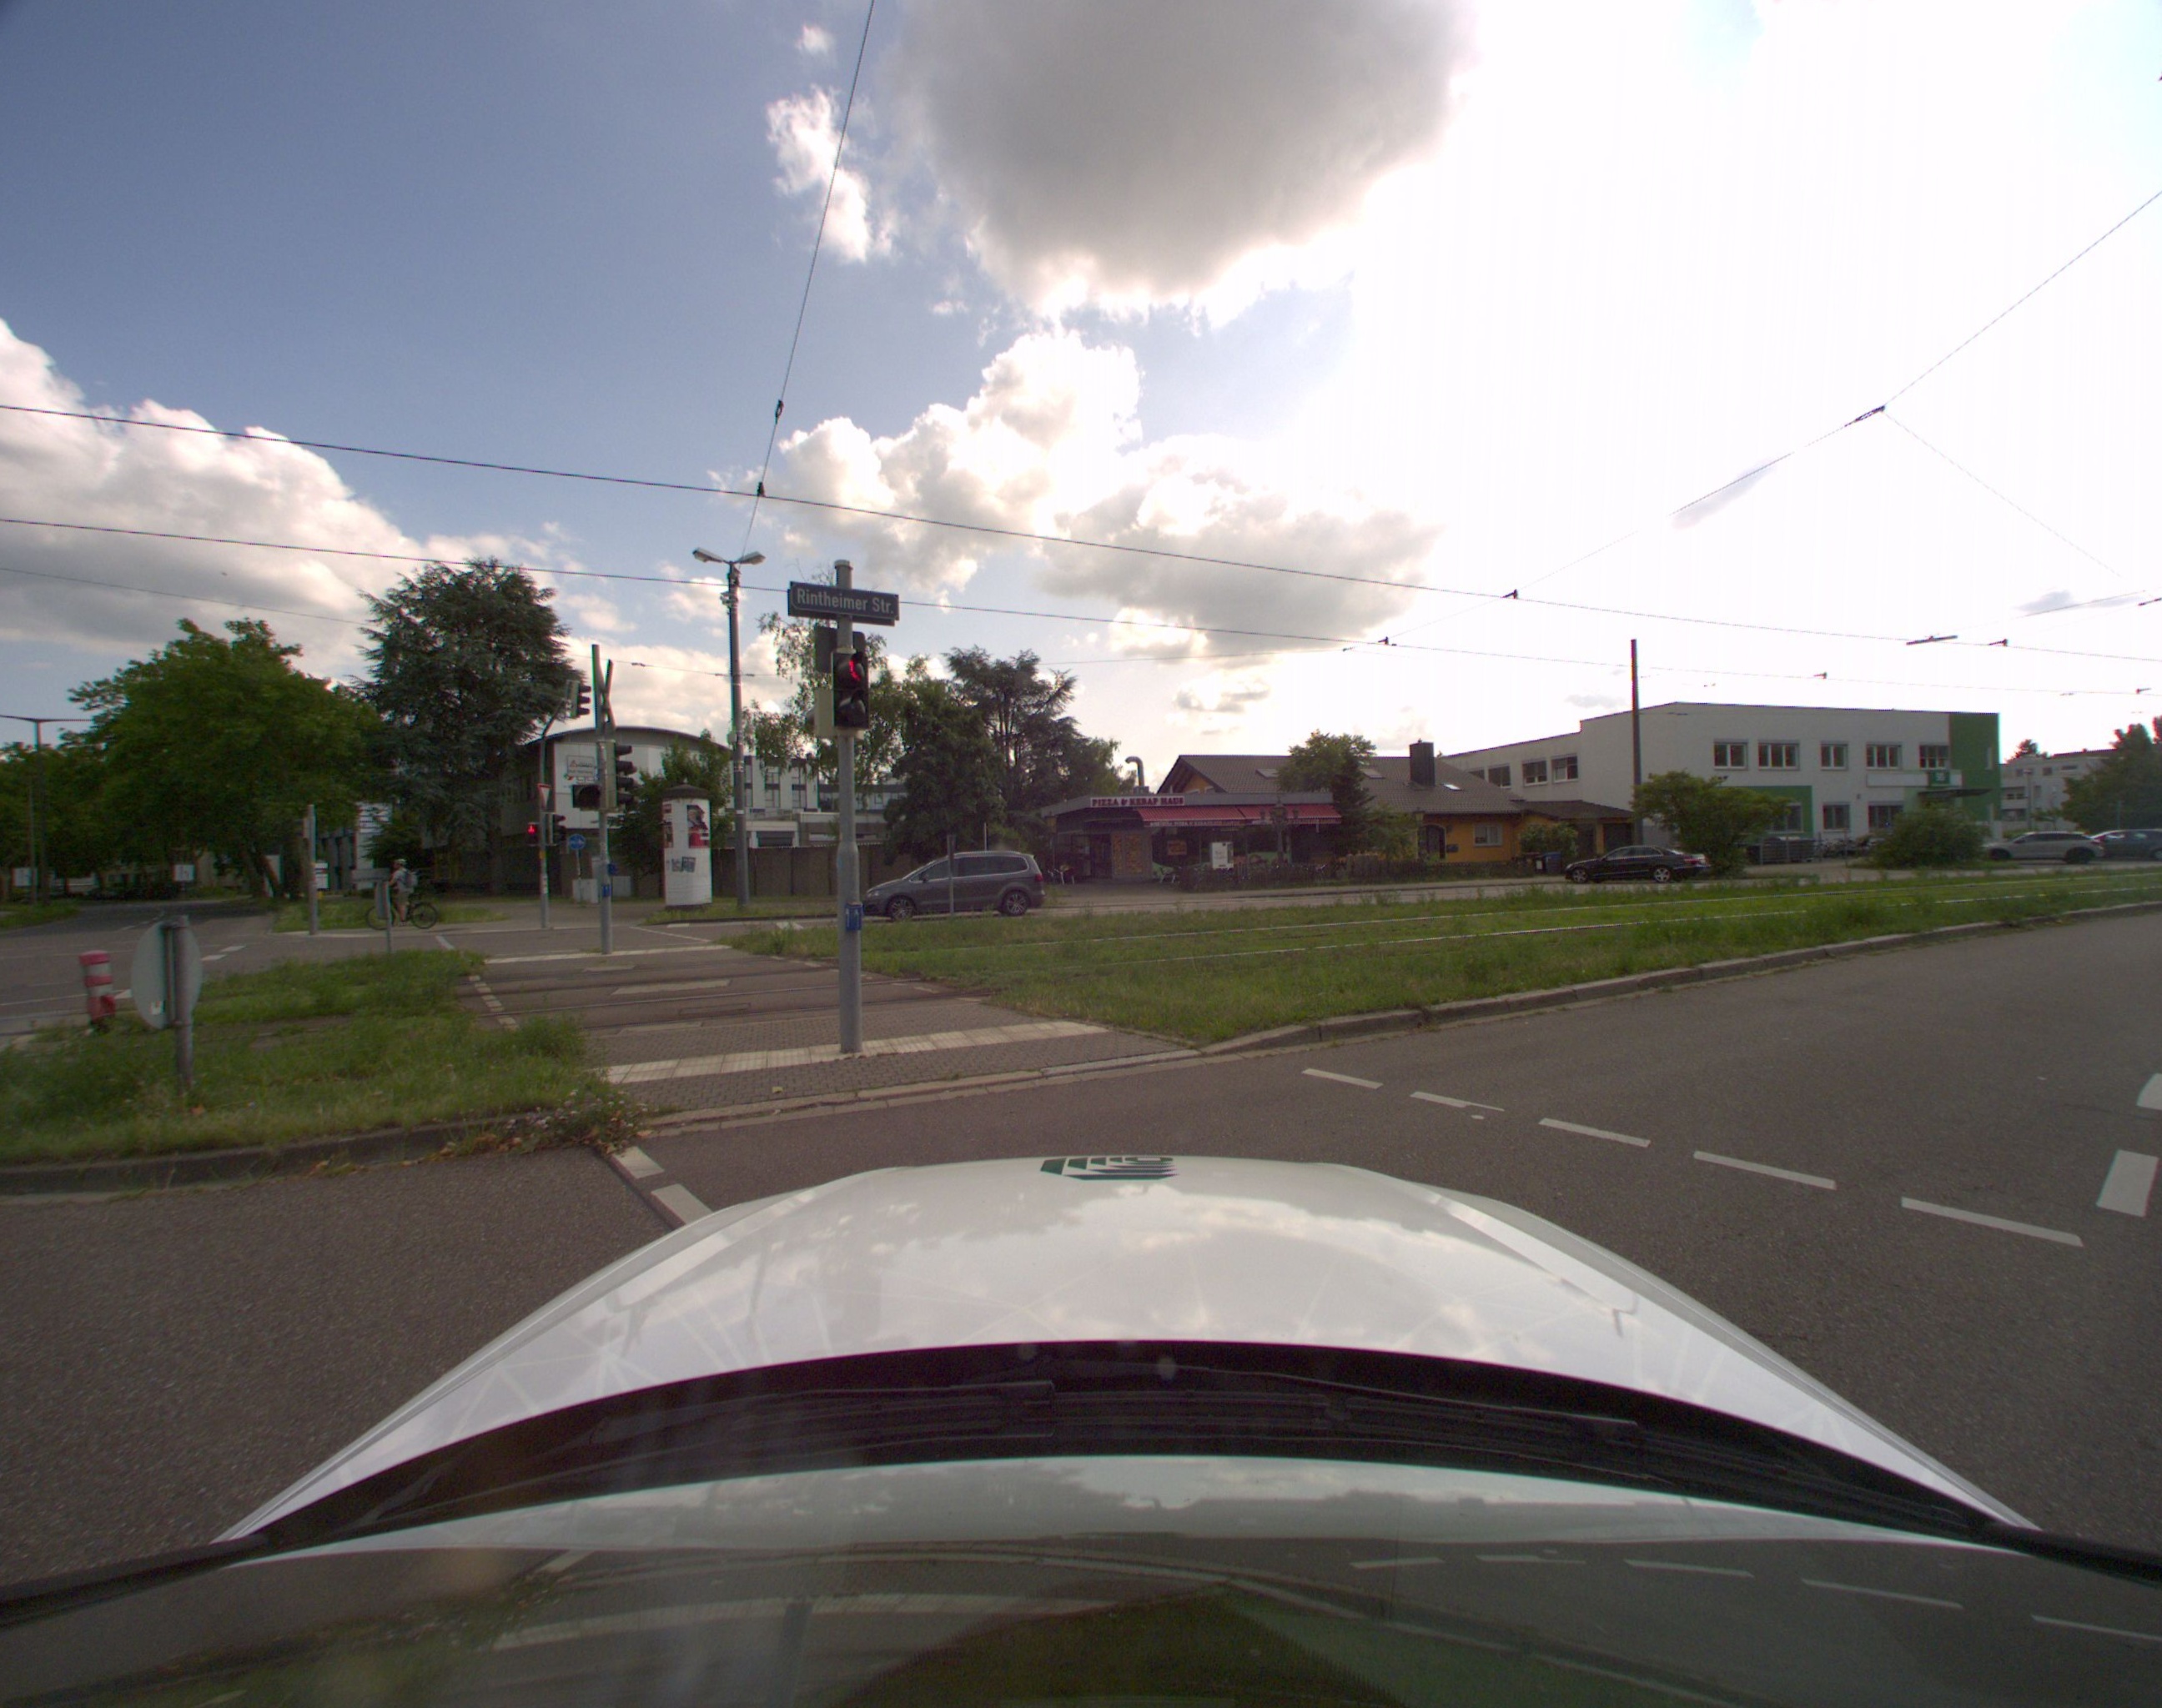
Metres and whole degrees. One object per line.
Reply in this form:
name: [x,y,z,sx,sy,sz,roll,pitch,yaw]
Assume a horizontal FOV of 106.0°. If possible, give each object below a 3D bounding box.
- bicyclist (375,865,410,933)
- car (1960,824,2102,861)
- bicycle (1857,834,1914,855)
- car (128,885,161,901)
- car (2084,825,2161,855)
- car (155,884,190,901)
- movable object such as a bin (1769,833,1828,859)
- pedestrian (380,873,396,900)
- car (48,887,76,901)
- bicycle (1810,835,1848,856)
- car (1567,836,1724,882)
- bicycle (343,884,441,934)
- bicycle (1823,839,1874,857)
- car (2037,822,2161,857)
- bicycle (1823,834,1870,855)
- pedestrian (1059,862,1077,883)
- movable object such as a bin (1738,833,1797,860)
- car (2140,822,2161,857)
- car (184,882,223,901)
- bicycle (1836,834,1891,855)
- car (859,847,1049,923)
bicyclist: [-18.897,1.228,22.365,0.545,1.809,0.537,-1,1,-24]
car: [46.462,-0.521,40.000,4.260,1.629,1.914,-2,0,41]
bicycle: [47.804,-0.562,48.416,0.746,1.166,2.411,-2,0,-8]
car: [-104.240,4.304,90.637,3.948,1.574,2.013,0,2,35]
car: [55.360,-0.756,42.183,1.871,1.504,4.119,-2,0,-43]
car: [-96.838,4.092,86.764,3.948,1.574,2.013,0,2,35]
movable object such as a bin: [38.346,-0.428,43.560,2.126,1.326,1.371,-2,0,-13]
pedestrian: [-41.420,1.921,48.673,0.626,1.569,0.552,-2,2,-44]
car: [-138.431,5.423,110.622,3.948,1.574,2.013,0,2,35]
bicycle: [44.174,-0.488,48.108,0.701,1.166,1.621,-2,0,1]
car: [21.713,0.218,31.495,2.009,1.580,4.529,-2,-1,-36]
bicycle: [-18.910,1.493,22.389,1.955,1.235,0.536,-1,1,-25]
bicycle: [45.667,-0.346,48.475,0.729,0.970,2.150,-2,0,-12]
car: [52.288,-0.728,41.671,1.913,1.629,4.262,-1,0,-44]
bicycle: [43.632,-0.533,46.425,0.736,1.081,1.786,-2,0,-18]
pedestrian: [-0.599,0.867,37.668,0.725,0.929,0.774,-1,1,-11]
movable object such as a bin: [36.232,-0.390,43.002,2.112,1.326,1.371,-2,0,-13]
car: [52.270,-0.712,37.293,4.267,1.629,1.911,-1,0,17]
car: [-86.892,3.704,80.641,3.948,1.574,2.013,0,2,35]
bicycle: [46.595,-0.556,48.512,0.758,1.166,2.343,-2,0,-10]
car: [-3.393,0.761,21.601,4.734,1.722,1.989,-2,0,-16]
